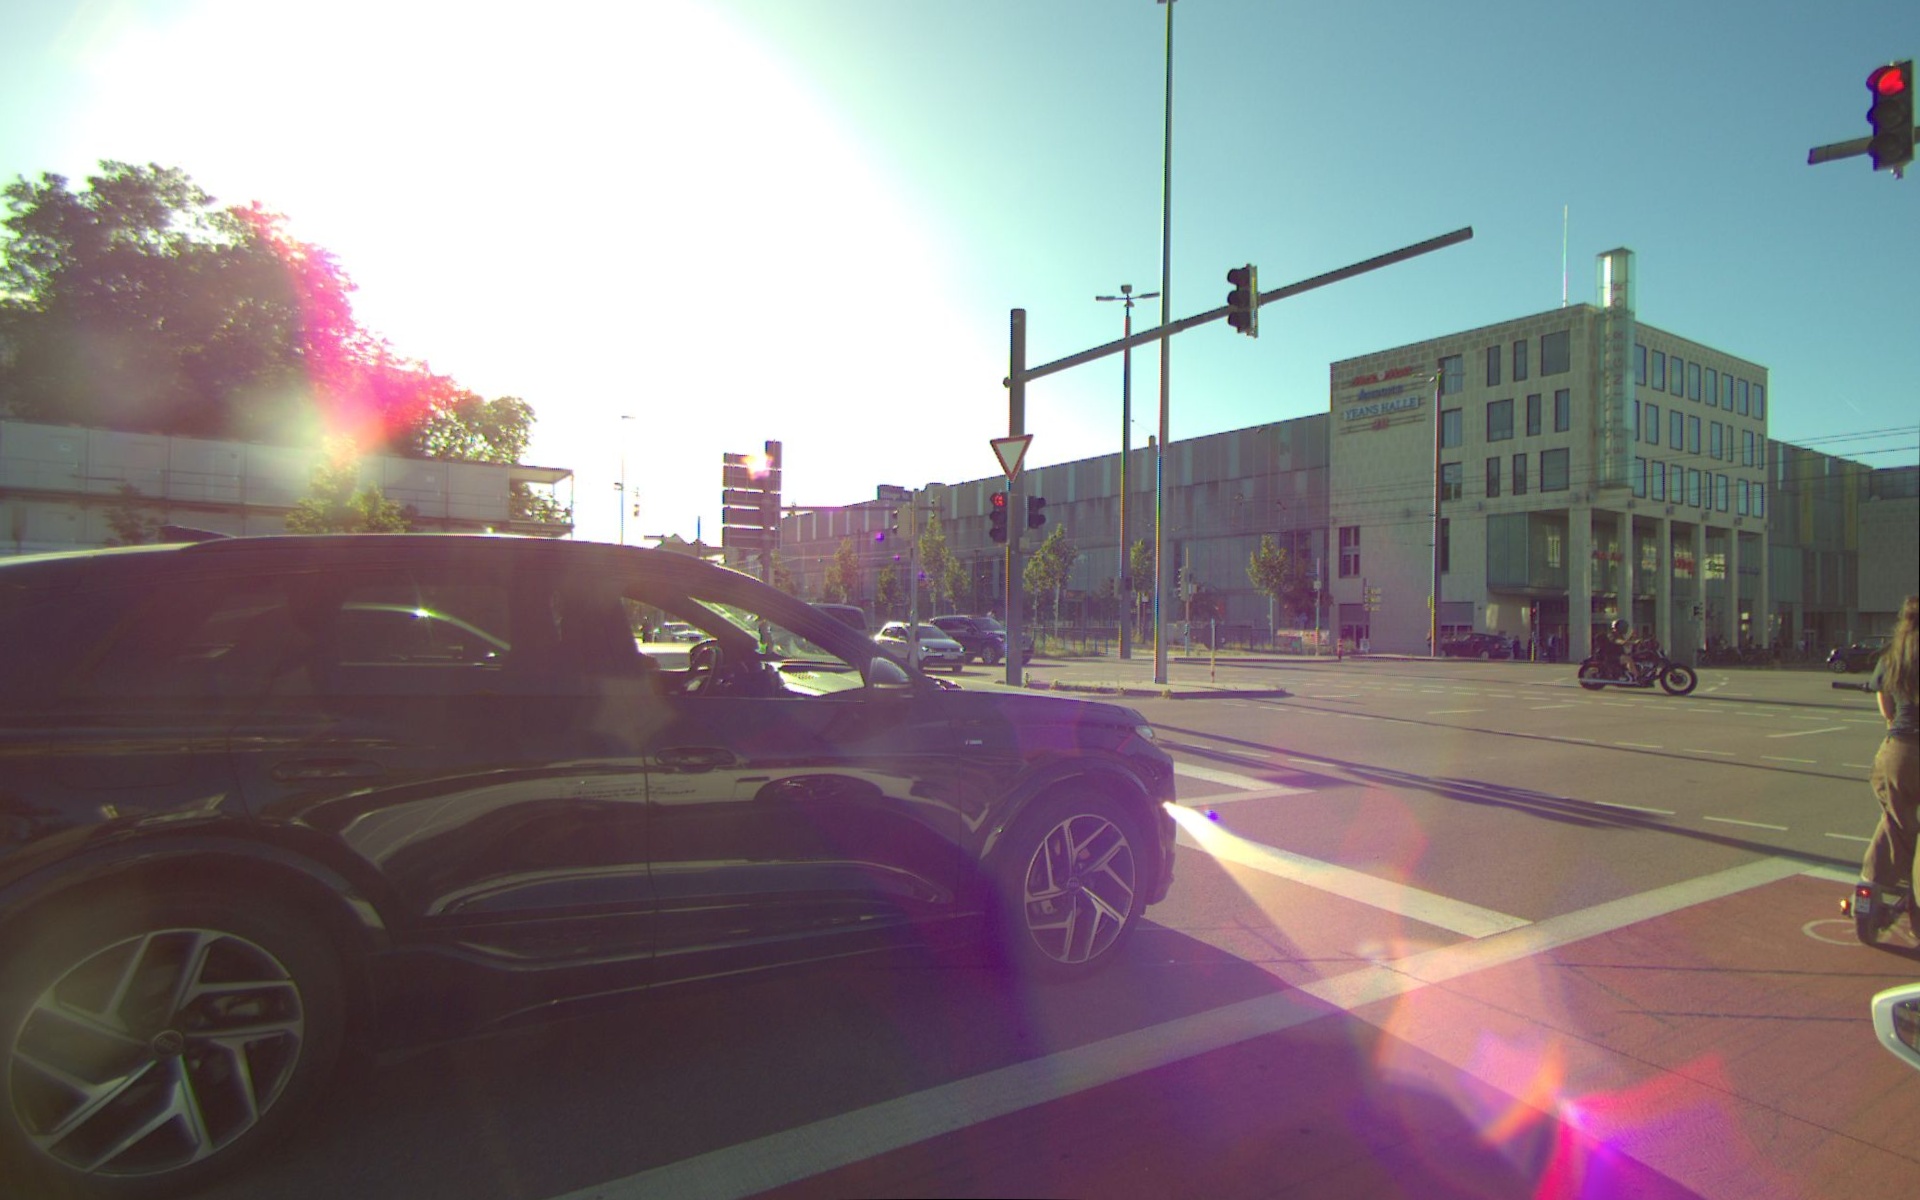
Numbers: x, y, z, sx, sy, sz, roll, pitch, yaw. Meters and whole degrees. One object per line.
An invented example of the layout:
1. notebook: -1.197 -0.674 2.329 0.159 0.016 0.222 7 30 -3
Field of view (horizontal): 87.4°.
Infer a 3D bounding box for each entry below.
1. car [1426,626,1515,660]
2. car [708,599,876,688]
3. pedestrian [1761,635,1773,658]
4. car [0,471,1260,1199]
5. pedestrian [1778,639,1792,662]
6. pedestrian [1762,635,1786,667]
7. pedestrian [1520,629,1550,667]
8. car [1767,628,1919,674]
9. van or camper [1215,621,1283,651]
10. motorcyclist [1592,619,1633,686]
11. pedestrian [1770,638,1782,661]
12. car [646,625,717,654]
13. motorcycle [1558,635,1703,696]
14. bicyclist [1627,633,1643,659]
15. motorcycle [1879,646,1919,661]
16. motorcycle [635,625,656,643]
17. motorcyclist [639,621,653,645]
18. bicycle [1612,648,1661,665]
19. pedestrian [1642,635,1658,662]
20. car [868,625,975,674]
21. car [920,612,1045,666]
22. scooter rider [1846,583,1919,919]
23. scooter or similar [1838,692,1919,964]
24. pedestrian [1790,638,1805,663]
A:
1. car: 27.406 2.292 54.037 1.741 1.706 3.967 1 -1 -30
2. car: -3.948 1.018 24.574 1.851 1.947 4.931 0 -1 20
3. pedestrian: 61.732 3.556 76.827 0.510 1.752 0.472 2 0 9
4. car: -1.223 0.608 4.077 4.612 1.729 2.154 1 0 -32
5. pedestrian: 62.570 3.837 76.169 0.616 1.752 0.471 2 0 -1
6. pedestrian: 43.231 2.686 53.355 0.618 1.660 0.774 1 -1 -26
7. pedestrian: 26.168 2.192 45.705 0.994 1.697 0.818 1 -1 -33
8. car: 35.595 2.005 40.547 1.805 1.706 4.379 1 -2 -32
9. van or camper: 20.343 2.519 70.795 1.974 2.040 4.388 1 -1 -34
10. motorcyclist: 14.449 1.151 22.226 0.650 1.442 0.644 -1 0 44
11. pedestrian: 61.947 3.784 76.270 0.510 1.705 0.472 2 0 9
12. car: -16.158 2.236 58.116 1.984 1.585 5.039 2 -2 -41
13. motorcycle: 14.661 1.391 22.022 2.567 1.224 0.725 -1 -1 44
14. bicyclist: 37.676 2.560 56.050 0.577 1.467 0.628 0 -1 15
15. motorcycle: 70.550 4.008 75.130 1.106 1.006 2.582 2 0 -38
16. motorcycle: -20.171 2.201 64.408 0.643 1.115 1.940 1 -1 -37
17. motorcyclist: -20.116 2.108 64.338 0.594 1.499 0.744 1 -1 -37
18. bicycle: 37.732 3.135 56.031 2.173 0.915 0.638 0 -1 13
19. pedestrian: 42.583 3.009 62.012 0.622 1.667 0.589 1 -1 -30
20. car: -1.261 1.496 31.117 1.709 1.395 3.912 1 -1 -30
21. car: 0.776 1.404 37.204 1.873 1.888 4.771 2 -2 -43
22. scooter rider: 4.620 0.702 4.766 0.445 1.550 0.548 1 -1 -38
23. scooter or similar: 4.378 1.018 4.698 0.832 1.122 0.303 2 -1 -42
24. pedestrian: 61.169 3.703 73.350 0.681 1.752 0.472 2 0 9
